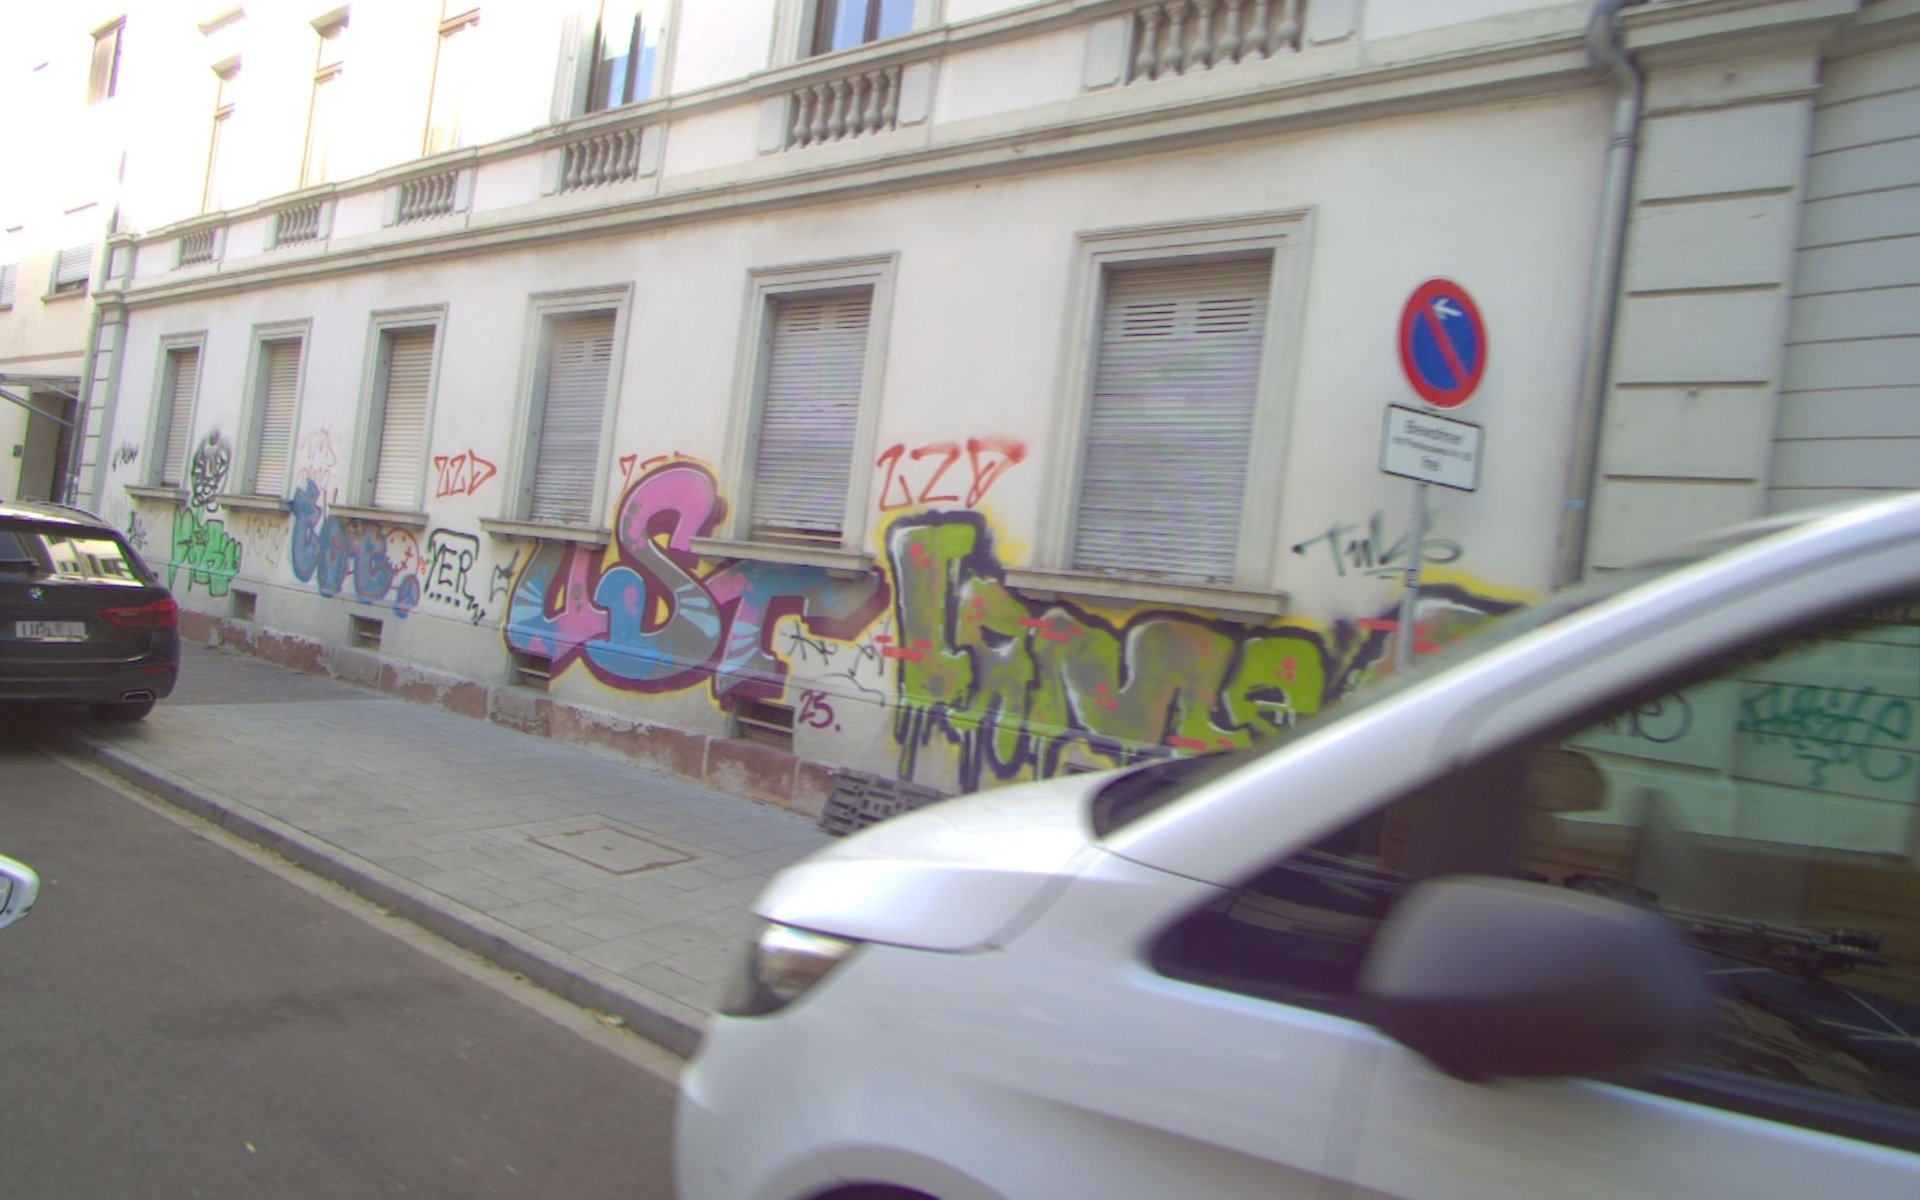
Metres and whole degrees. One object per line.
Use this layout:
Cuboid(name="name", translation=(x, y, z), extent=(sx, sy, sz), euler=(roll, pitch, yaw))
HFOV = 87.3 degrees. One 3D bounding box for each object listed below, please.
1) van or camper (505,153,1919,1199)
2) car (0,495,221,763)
Cuboid(name="van or camper", translation=(1.846, 0.775, 1.343), extent=(4.947, 2.037, 1.898), euler=(7, -2, 31))
Cuboid(name="car", translation=(-7.444, -0.051, 7.151), extent=(4.650, 1.535, 1.820), euler=(7, -4, 33))
